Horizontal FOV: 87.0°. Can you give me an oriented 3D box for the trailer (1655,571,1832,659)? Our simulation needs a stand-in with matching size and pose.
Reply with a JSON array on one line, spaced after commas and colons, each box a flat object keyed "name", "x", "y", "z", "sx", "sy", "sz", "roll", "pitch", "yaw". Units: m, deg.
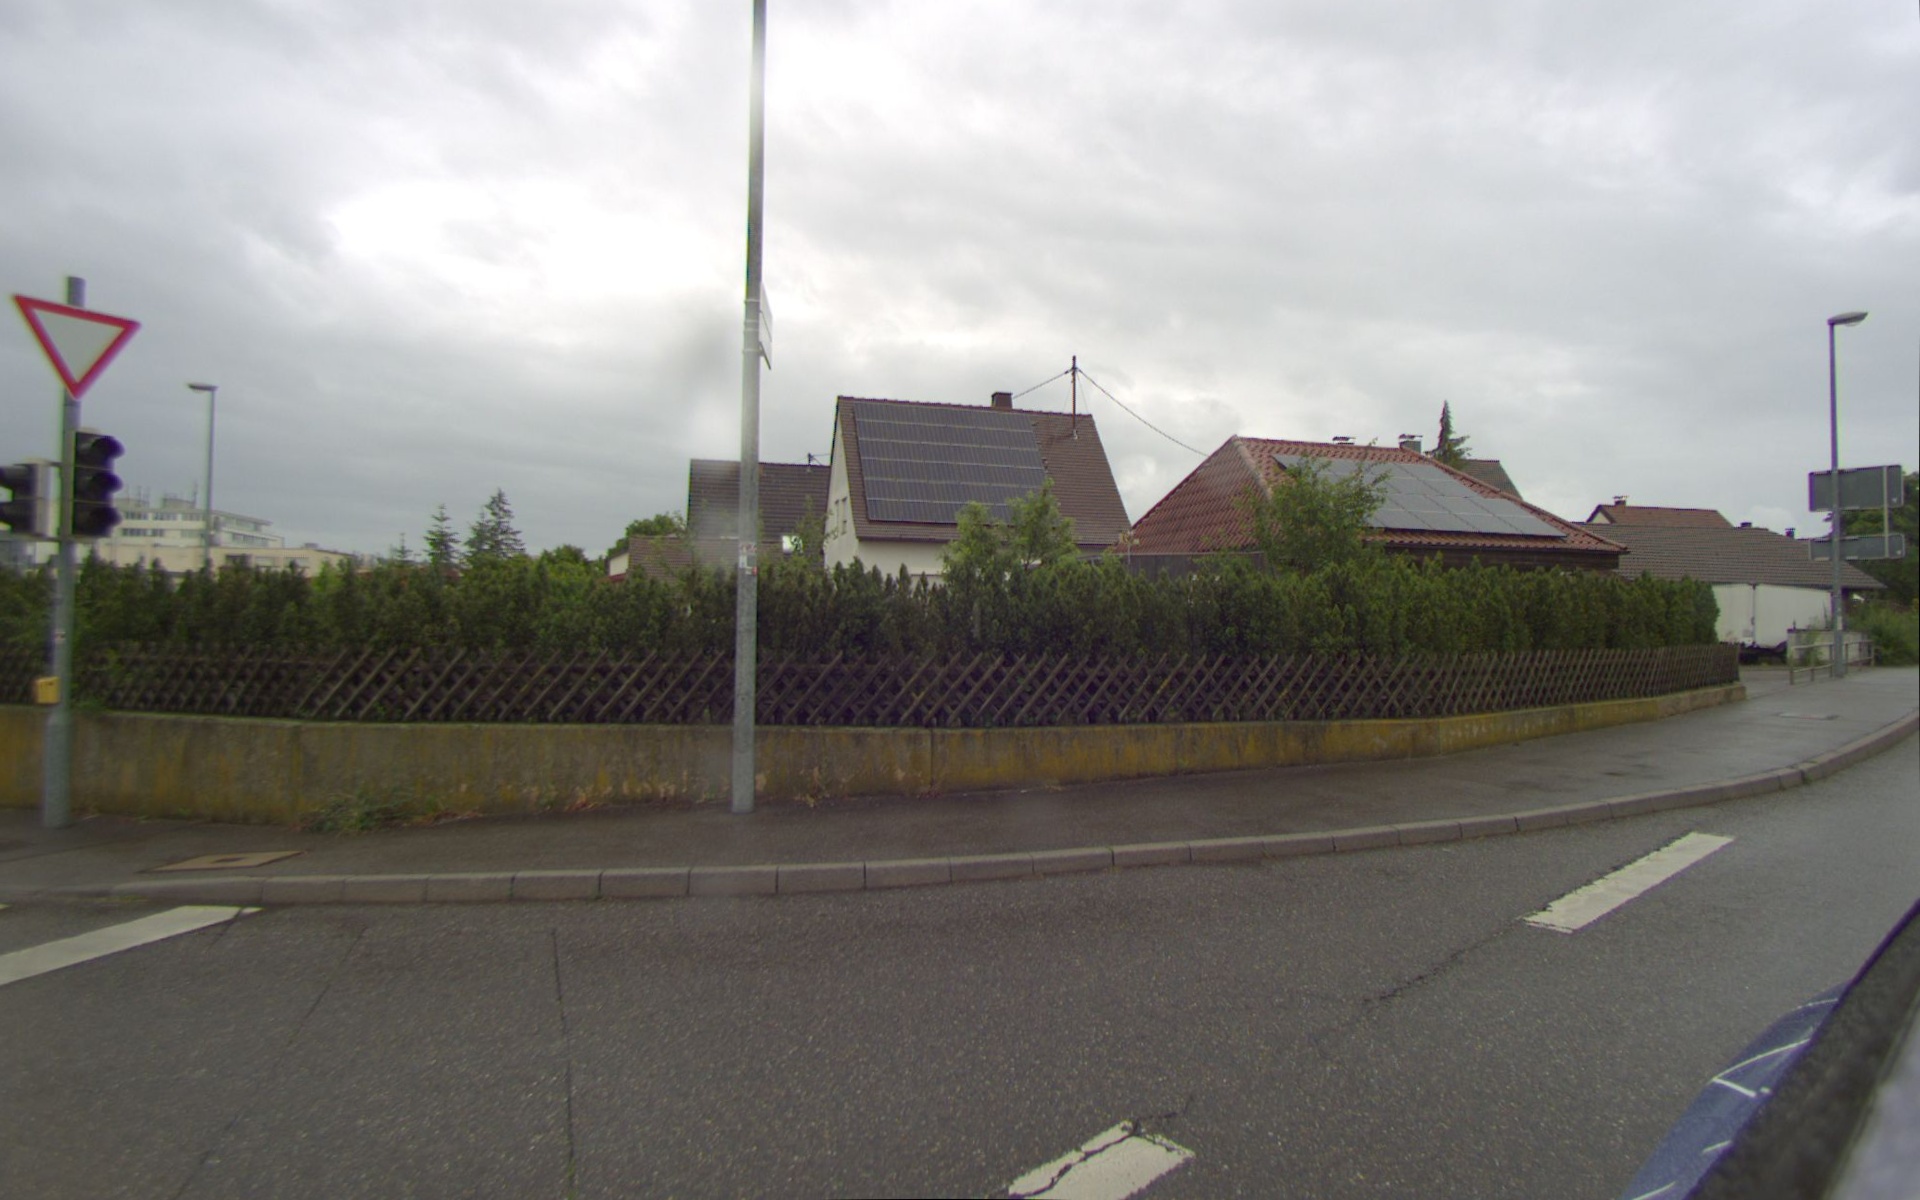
[{"name": "trailer", "x": 23.769, "y": 0.458, "z": 30.750, "sx": 4.605, "sy": 2.550, "sz": 1.652, "roll": 0, "pitch": -2, "yaw": -13}]
